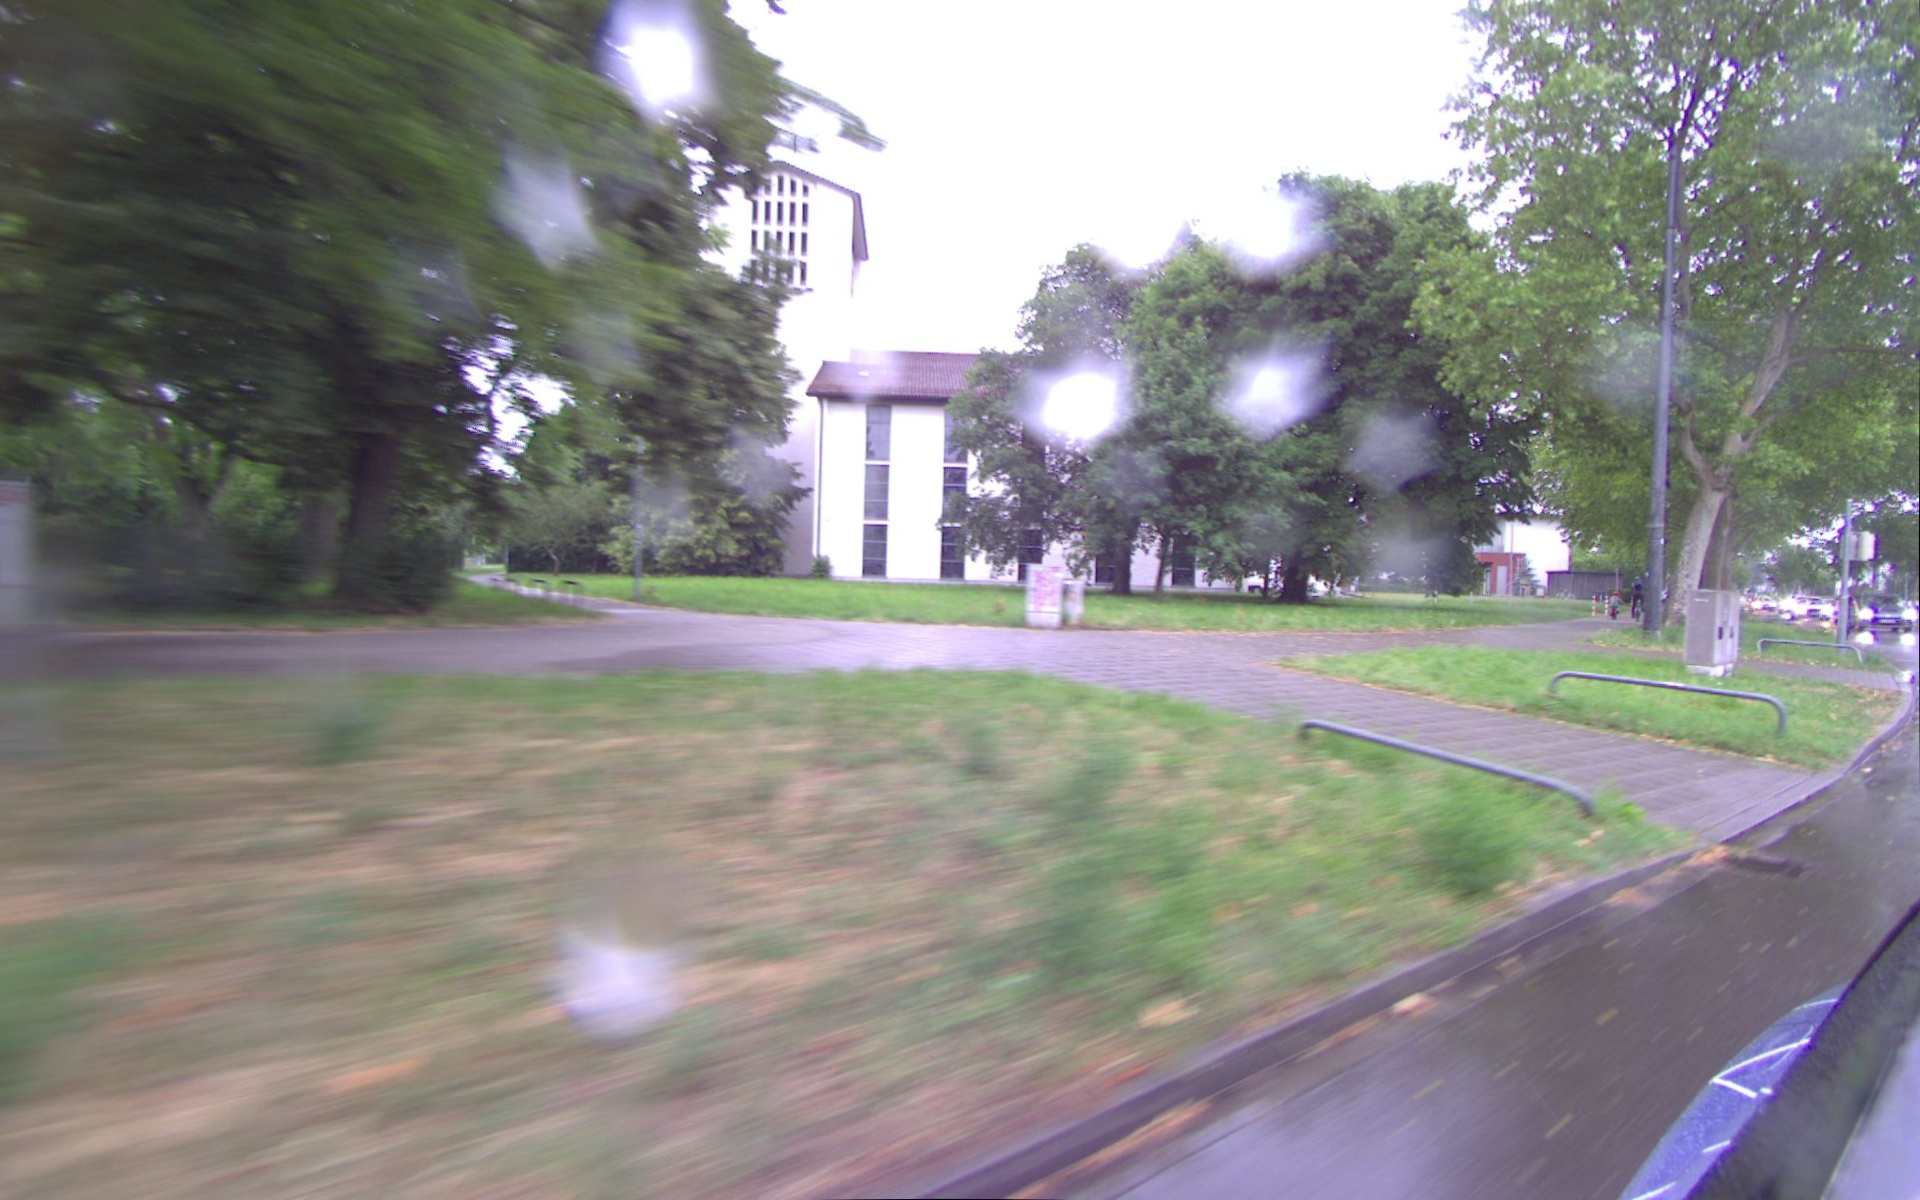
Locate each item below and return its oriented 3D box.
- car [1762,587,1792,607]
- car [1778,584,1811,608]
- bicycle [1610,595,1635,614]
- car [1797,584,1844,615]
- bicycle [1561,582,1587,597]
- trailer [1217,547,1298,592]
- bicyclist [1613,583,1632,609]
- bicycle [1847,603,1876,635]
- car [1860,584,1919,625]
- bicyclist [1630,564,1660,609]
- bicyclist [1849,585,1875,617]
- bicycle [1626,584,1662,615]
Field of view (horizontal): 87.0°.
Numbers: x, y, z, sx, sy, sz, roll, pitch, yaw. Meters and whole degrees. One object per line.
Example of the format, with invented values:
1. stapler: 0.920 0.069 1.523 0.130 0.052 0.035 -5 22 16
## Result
1. car: 76.028 -0.330 94.235 1.757 1.746 3.887 3 3 34
2. car: 65.550 -0.350 79.500 1.759 1.746 3.882 3 3 37
3. bicycle: 26.867 0.183 41.021 1.432 0.717 0.488 0 2 -42
4. car: 52.219 -0.064 61.492 1.757 1.746 3.885 1 1 35
5. bicycle: 50.929 -0.864 83.943 1.898 1.135 0.522 2 3 -10
6. trailer: 16.841 -1.726 57.397 3.942 2.337 1.894 2 1 -2
7. bicyclist: 26.836 -0.169 40.988 0.581 1.051 0.488 0 2 -41
8. bicycle: 32.054 0.659 35.998 0.656 1.026 2.225 3 3 39
9. car: 40.680 0.192 44.173 1.758 1.747 3.881 0 0 37
10. bicyclist: 27.261 -0.534 40.264 0.940 1.742 0.713 0 2 -41
11. bicyclist: 31.963 0.027 35.850 0.619 1.098 0.615 3 2 40
12. bicycle: 27.232 -0.025 40.267 1.938 1.156 0.712 0 2 -42
